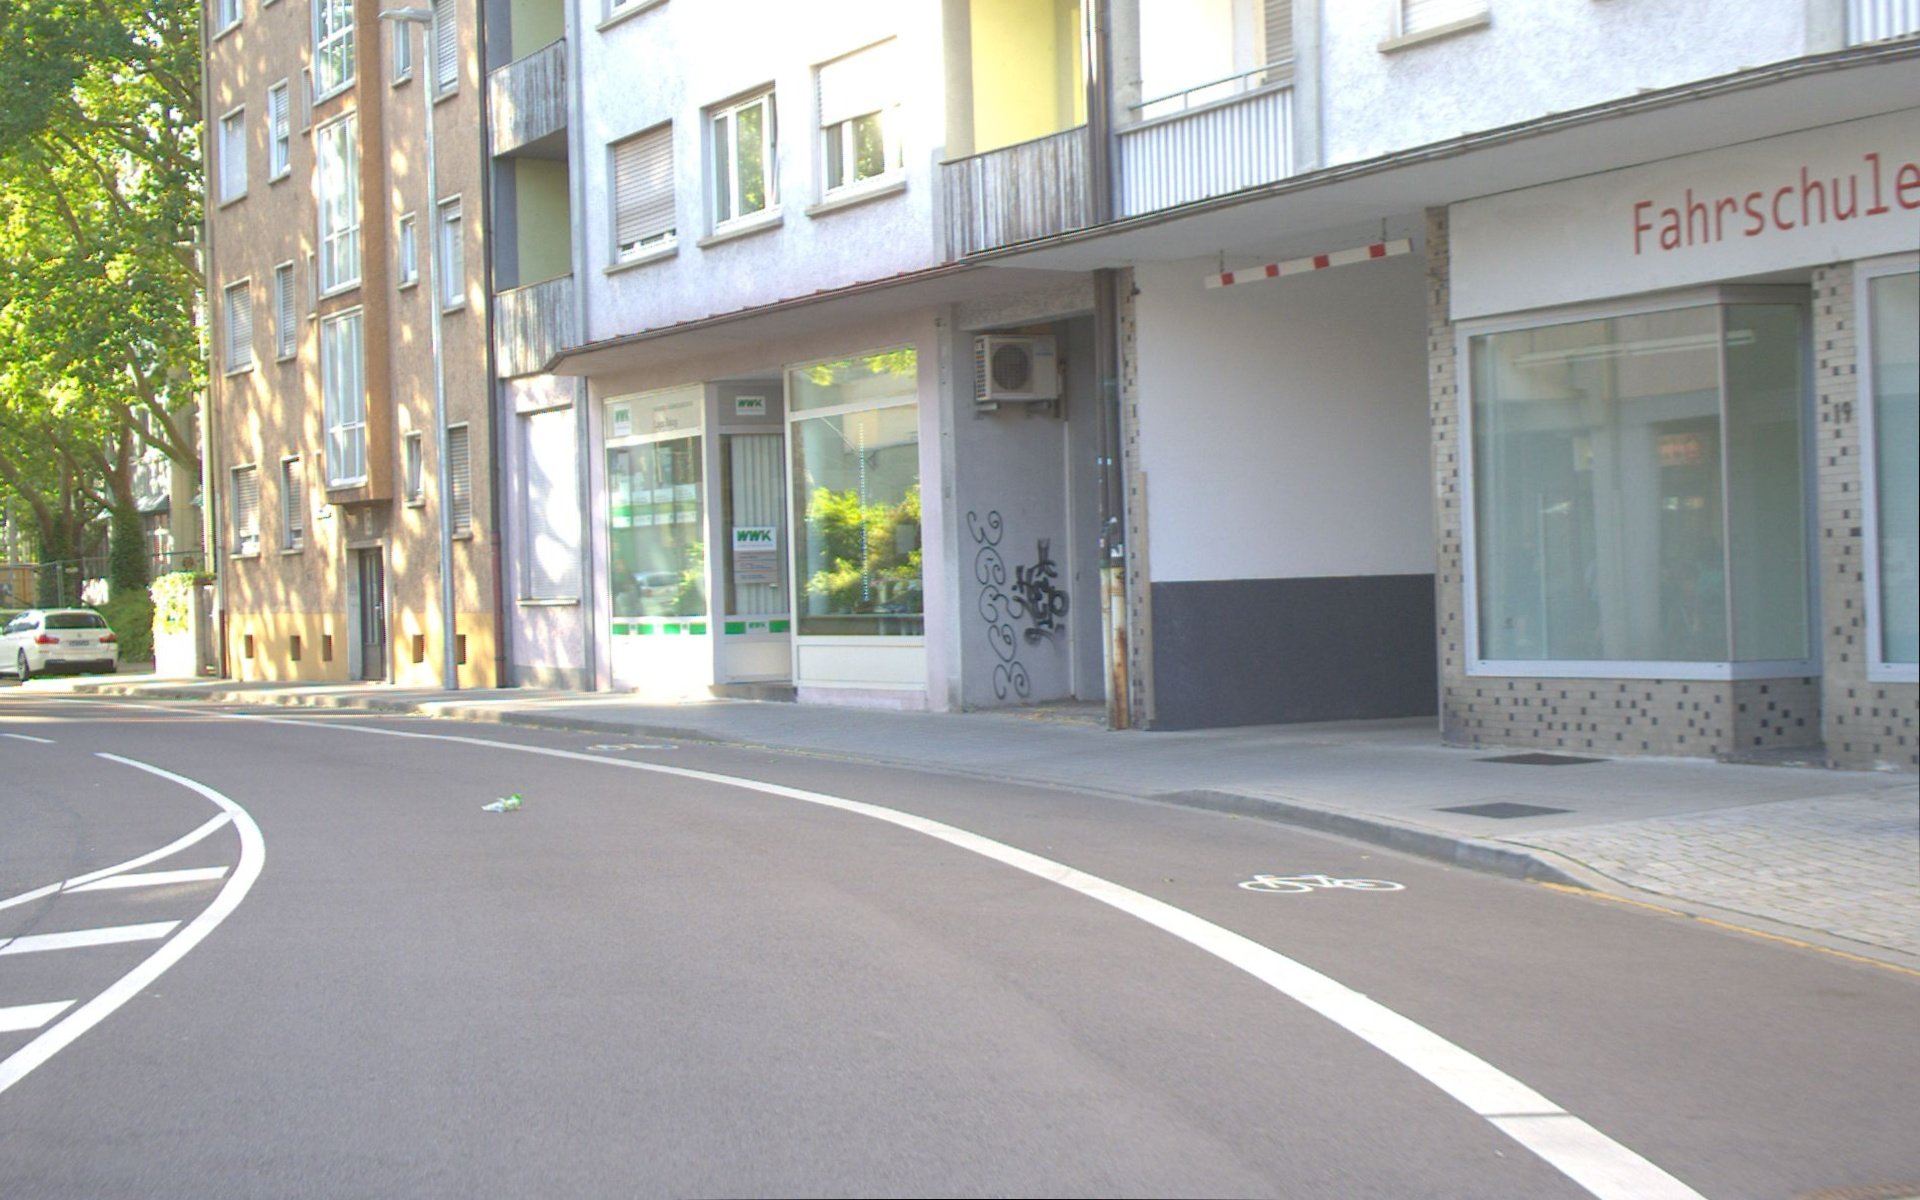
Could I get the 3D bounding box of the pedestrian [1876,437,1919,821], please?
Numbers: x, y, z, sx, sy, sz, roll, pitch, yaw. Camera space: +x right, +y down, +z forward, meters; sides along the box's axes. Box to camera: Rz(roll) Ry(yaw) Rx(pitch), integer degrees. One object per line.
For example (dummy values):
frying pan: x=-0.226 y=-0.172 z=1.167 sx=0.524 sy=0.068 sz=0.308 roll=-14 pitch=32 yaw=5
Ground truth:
pedestrian: x=5.045 y=0.113 z=16.427 sx=0.731 sy=1.848 sz=0.948 roll=-5 pitch=1 yaw=-25

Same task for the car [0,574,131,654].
car: x=-18.347 y=0.290 z=69.995 sx=2.032 sy=1.499 sz=4.094 roll=-2 pitch=1 yaw=-25

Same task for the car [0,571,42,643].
car: x=-22.933 y=0.183 z=80.478 sx=2.032 sy=1.611 sz=4.094 roll=-2 pitch=1 yaw=-25
